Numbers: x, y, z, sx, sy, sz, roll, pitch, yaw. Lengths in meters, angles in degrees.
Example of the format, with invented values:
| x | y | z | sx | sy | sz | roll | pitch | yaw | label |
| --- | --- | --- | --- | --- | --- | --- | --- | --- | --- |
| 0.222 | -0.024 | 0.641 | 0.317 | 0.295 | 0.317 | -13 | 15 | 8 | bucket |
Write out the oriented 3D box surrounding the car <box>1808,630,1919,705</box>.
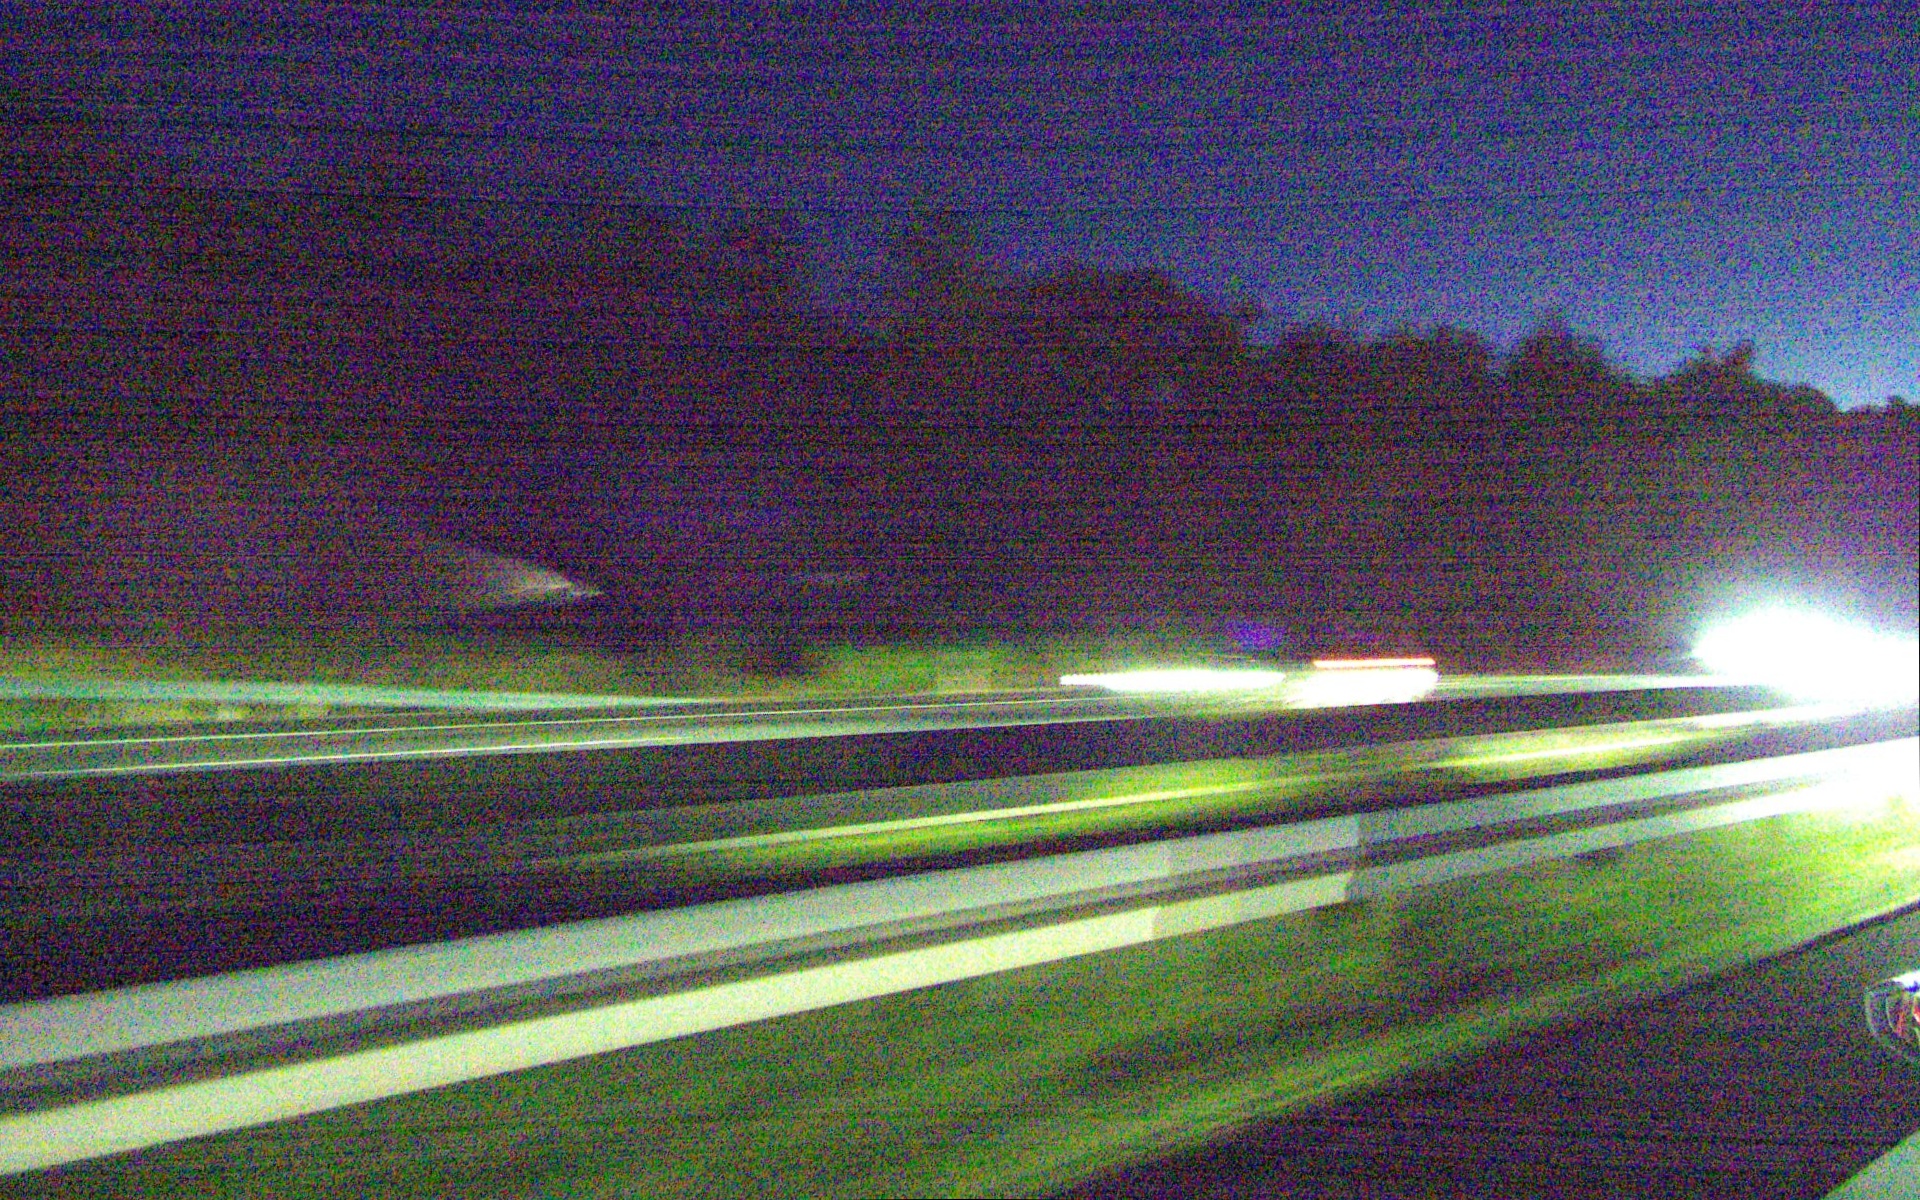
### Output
| x | y | z | sx | sy | sz | roll | pitch | yaw | label |
| --- | --- | --- | --- | --- | --- | --- | --- | --- | --- |
| 20.453 | 1.395 | 21.503 | 4.842 | 1.481 | 1.985 | 1 | -3 | -30 | car |

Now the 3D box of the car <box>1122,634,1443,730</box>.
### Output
| x | y | z | sx | sy | sz | roll | pitch | yaw | label |
| --- | --- | --- | --- | --- | --- | --- | --- | --- | --- |
| 5.561 | 1.284 | 17.025 | 5.640 | 1.412 | 1.984 | 1 | -2 | -31 | car |

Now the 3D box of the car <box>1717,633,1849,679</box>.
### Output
| x | y | z | sx | sy | sz | roll | pitch | yaw | label |
| --- | --- | --- | --- | --- | --- | --- | --- | --- | --- |
| 28.184 | 1.876 | 34.380 | 4.744 | 1.505 | 1.984 | 1 | -2 | -30 | car |
